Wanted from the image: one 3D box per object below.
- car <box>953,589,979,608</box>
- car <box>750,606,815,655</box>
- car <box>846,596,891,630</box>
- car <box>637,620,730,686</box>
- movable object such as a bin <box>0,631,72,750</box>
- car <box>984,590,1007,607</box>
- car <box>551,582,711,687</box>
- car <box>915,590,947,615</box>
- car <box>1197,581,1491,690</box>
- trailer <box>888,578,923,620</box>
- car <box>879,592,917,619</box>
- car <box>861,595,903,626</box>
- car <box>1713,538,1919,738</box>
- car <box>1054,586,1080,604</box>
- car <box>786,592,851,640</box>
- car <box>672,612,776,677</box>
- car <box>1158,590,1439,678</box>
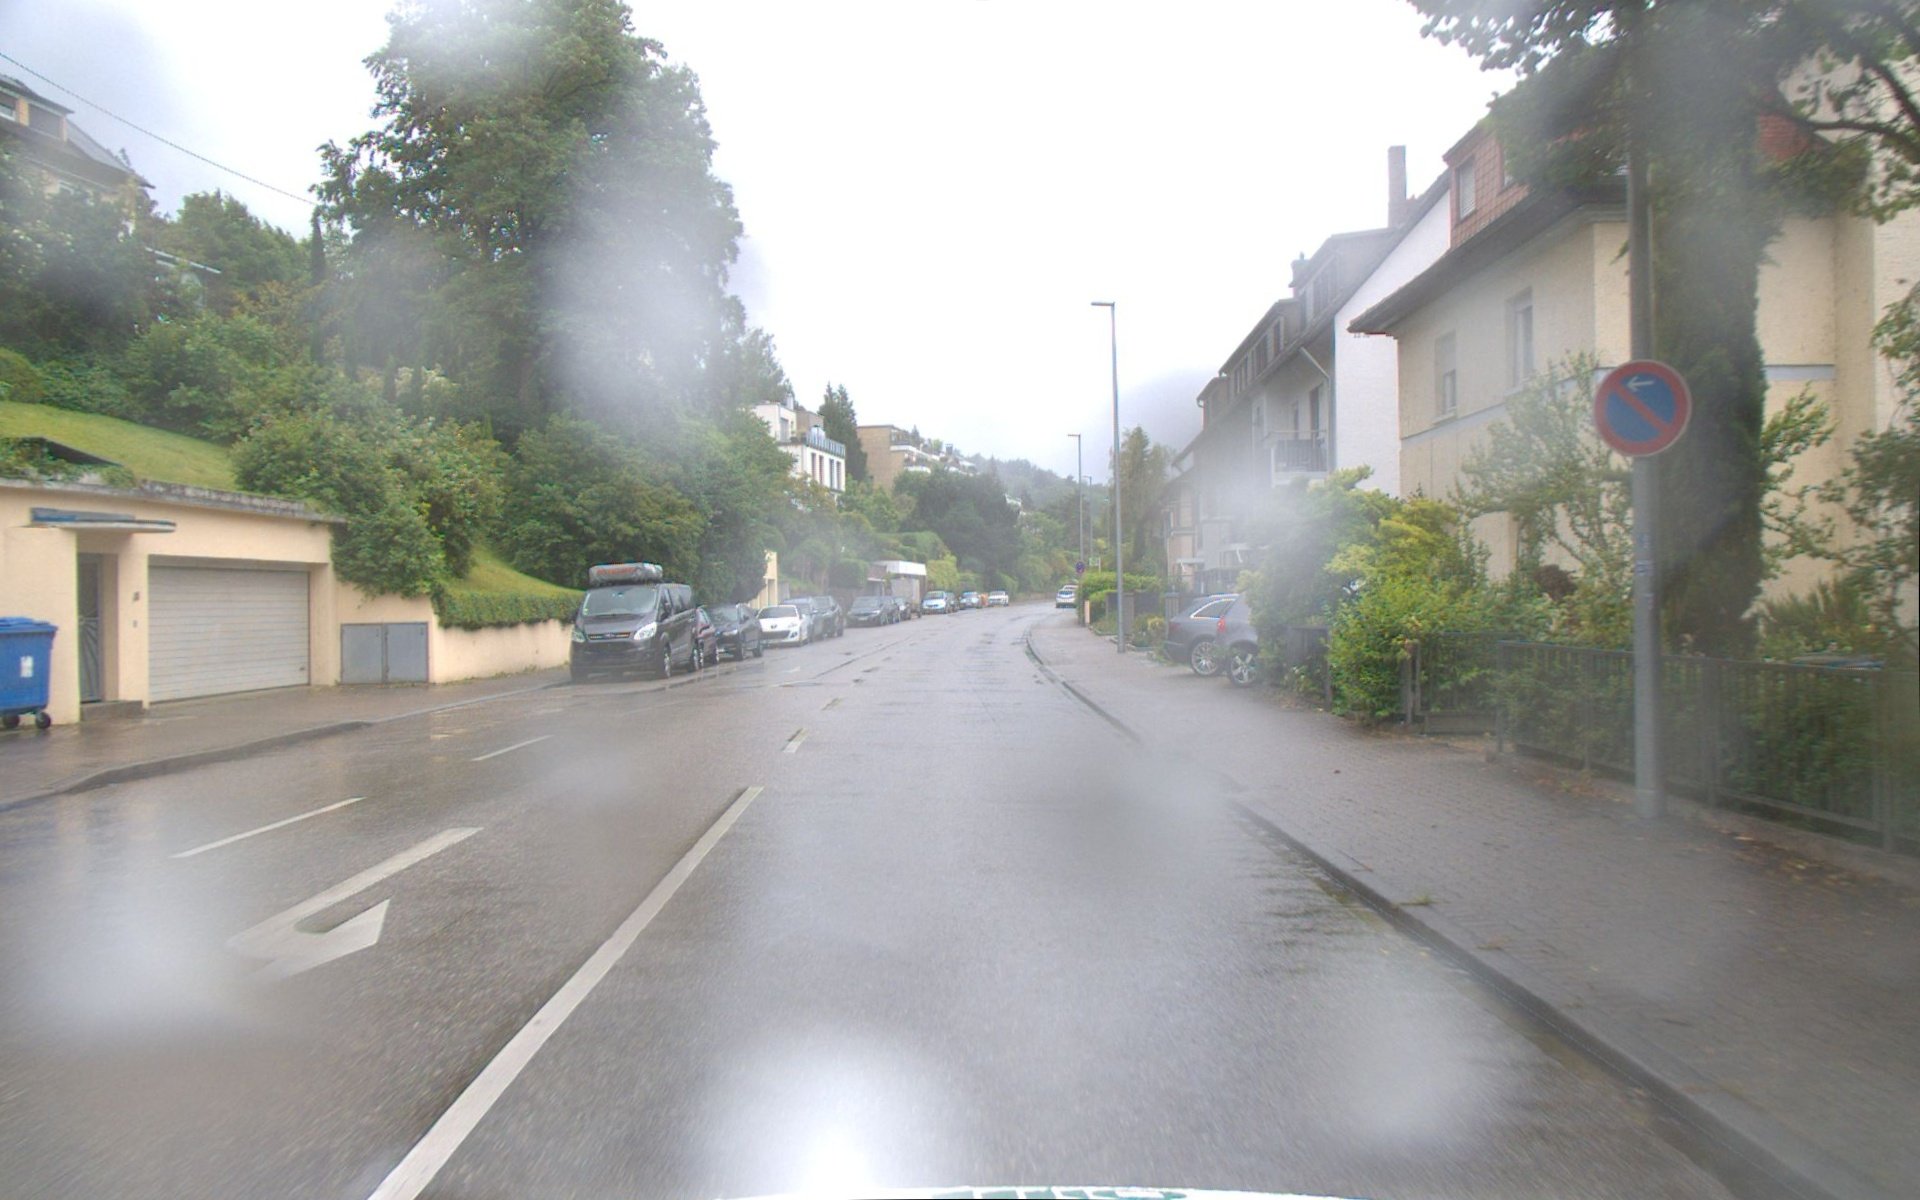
[{"bbox_3d":[0.550,-0.160,139.815,1.719,1.426,3.773,-4,0,6],"label":"car"},{"bbox_3d":[-6.050,1.008,56.702,1.681,1.389,4.084,-4,1,0],"label":"car"},{"bbox_3d":[-4.650,0.636,84.552,1.748,1.480,4.757,-4,1,3],"label":"car"},{"bbox_3d":[-6.733,1.258,40.630,1.532,1.388,3.907,-4,0,0],"label":"car"},{"bbox_3d":[-11.571,1.072,20.020,0.803,1.337,1.403,-1,1,4],"label":"movable object such as a bin"},{"bbox_3d":[3.446,-0.155,158.791,1.719,1.524,4.223,-3,0,6],"label":"car"},{"bbox_3d":[-6.863,0.664,35.166,2.114,1.952,5.324,-3,0,1],"label":"car"},{"bbox_3d":[-2.033,0.152,117.127,1.719,1.565,3.759,-5,1,5],"label":"car"},{"bbox_3d":[5.737,0.514,24.827,3.917,1.482,1.767,-1,1,34],"label":"car"},{"bbox_3d":[-3.382,-0.090,102.913,1.504,2.441,3.075,-4,0,8],"label":"trailer"},{"bbox_3d":[-3.622,0.327,97.429,1.770,1.372,3.778,-3,1,4],"label":"car"},{"bbox_3d":[-4.231,0.556,90.608,1.748,1.439,4.220,-3,1,4],"label":"car"},{"bbox_3d":[9.119,0.432,14.732,3.905,1.607,1.822,5,0,2],"label":"car"},{"bbox_3d":[9.069,-0.427,139.413,1.751,1.485,4.312,-1,0,9],"label":"car"},{"bbox_3d":[-5.666,0.618,66.698,1.835,1.654,4.595,-5,1,3],"label":"car"},{"bbox_3d":[-6.413,1.180,45.519,1.869,1.506,4.757,-4,0,3],"label":"car"},{"bbox_3d":[5.739,0.568,28.217,4.292,1.388,1.913,-1,-1,34],"label":"car"}]
